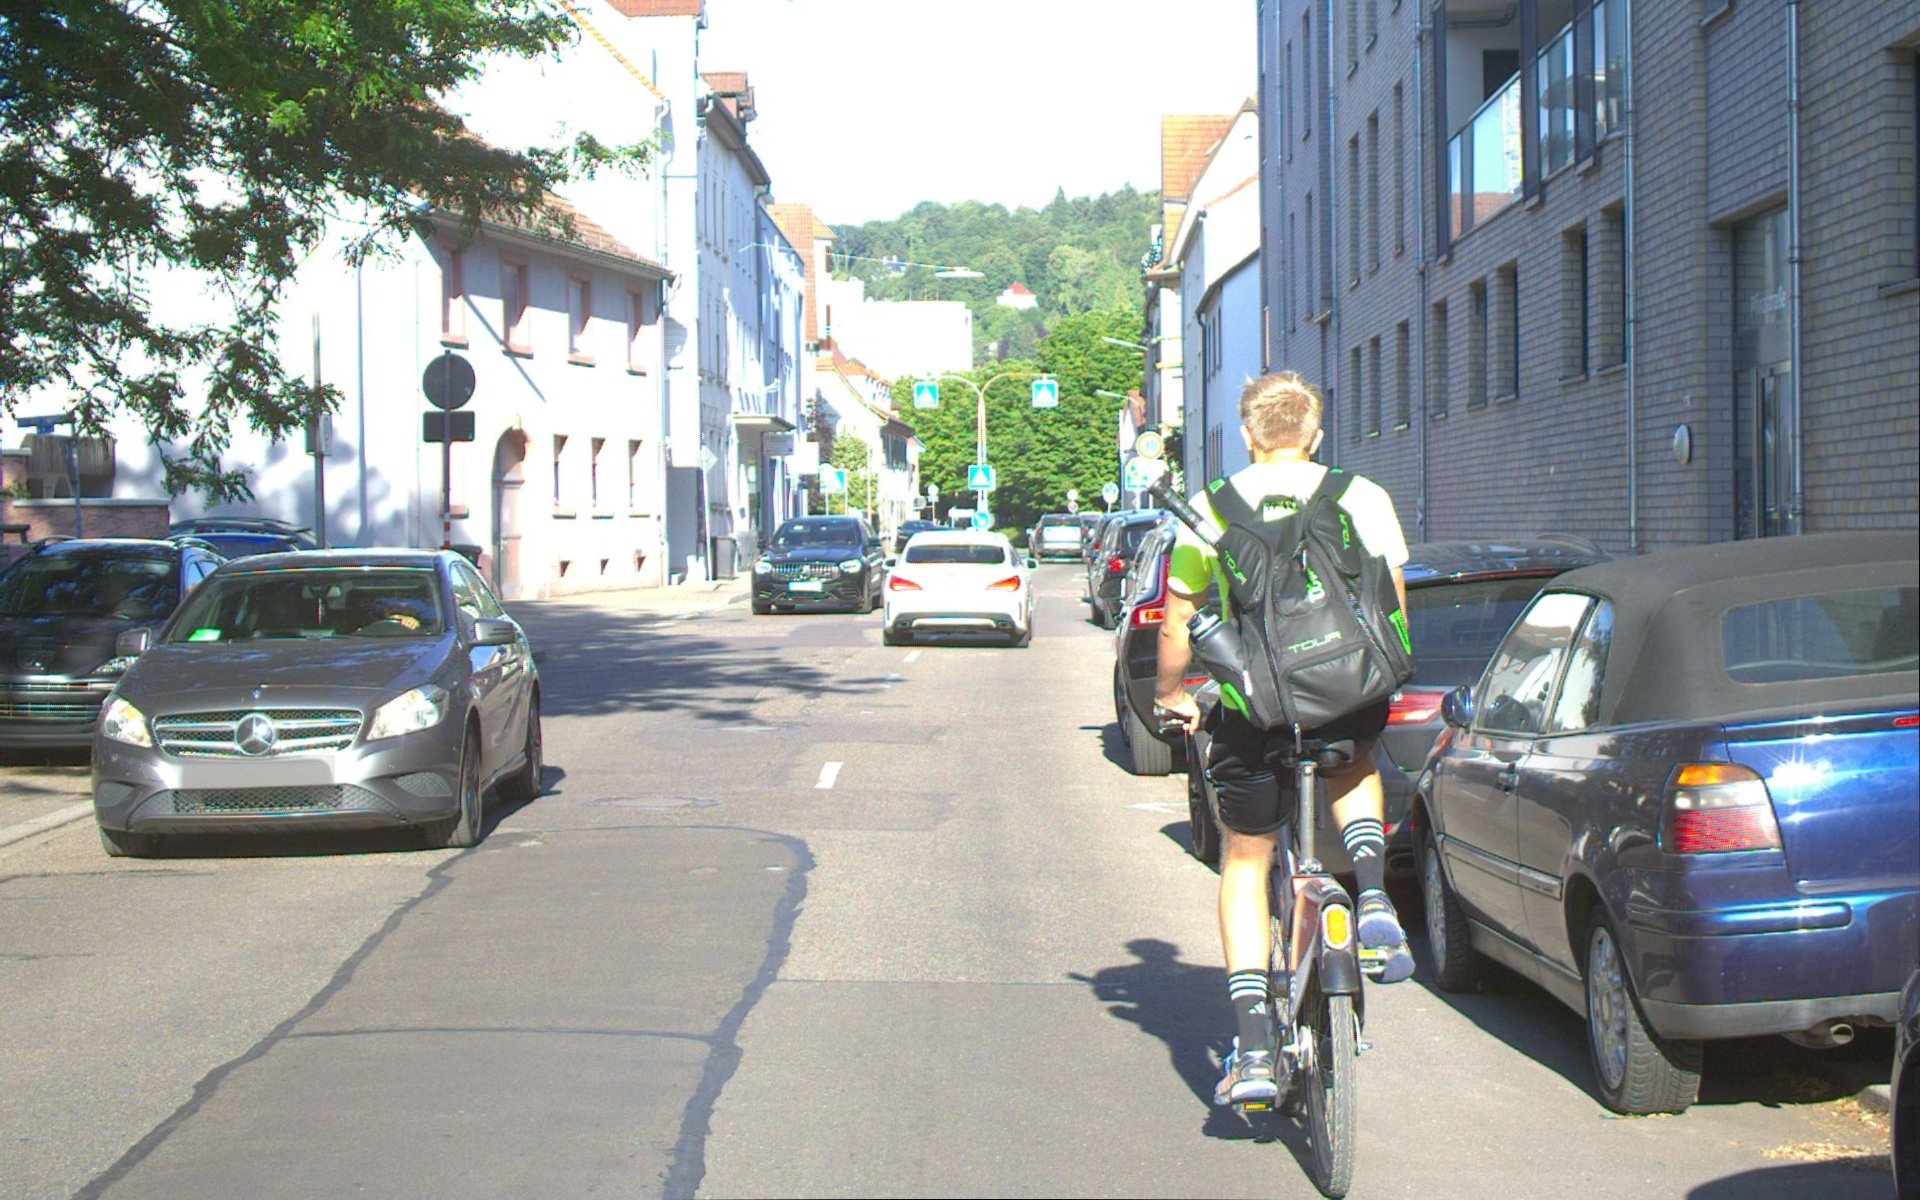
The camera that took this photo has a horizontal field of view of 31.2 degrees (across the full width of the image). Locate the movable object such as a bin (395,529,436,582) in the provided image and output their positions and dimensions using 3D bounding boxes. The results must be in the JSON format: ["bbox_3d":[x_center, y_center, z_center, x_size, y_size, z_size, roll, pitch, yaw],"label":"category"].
[{"bbox_3d":[-9.183,-0.753,57.946,0.598,0.869,0.606,0,1,-1],"label":"movable object such as a bin"}]

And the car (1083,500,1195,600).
[{"bbox_3d":[3.230,-0.945,62.741,1.855,1.630,4.623,-3,2,2],"label":"car"}]

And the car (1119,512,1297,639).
[{"bbox_3d":[3.173,-0.364,44.724,1.993,1.500,4.367,-1,2,0],"label":"car"}]

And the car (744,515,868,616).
[{"bbox_3d":[-2.524,-0.600,57.208,1.939,1.570,4.320,-1,1,-1],"label":"car"}]

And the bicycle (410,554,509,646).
[{"bbox_3d":[-5.680,-0.009,39.109,0.704,0.999,1.941,0,1,4],"label":"bicycle"}]

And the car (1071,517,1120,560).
[{"bbox_3d":[5.924,-2.704,150.850,2.011,1.846,4.000,0,2,0],"label":"car"}]

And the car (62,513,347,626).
[{"bbox_3d":[-11.338,-0.471,51.791,3.768,1.524,2.000,-2,2,2],"label":"car"}]

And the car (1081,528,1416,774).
[{"bbox_3d":[1.841,0.265,23.180,1.816,1.461,4.270,-1,1,-1],"label":"car"}]

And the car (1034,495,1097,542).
[{"bbox_3d":[3.415,-2.656,112.213,1.993,1.461,4.000,-1,1,1],"label":"car"}]

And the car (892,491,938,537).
[{"bbox_3d":[-2.037,-3.918,156.497,1.993,2.006,4.000,-1,2,0],"label":"car"}]

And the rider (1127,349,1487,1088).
[{"bbox_3d":[0.766,0.252,7.870,0.653,1.556,1.083,2,0,-1],"label":"rider"}]

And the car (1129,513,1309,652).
[{"bbox_3d":[2.944,-0.245,39.808,1.712,1.399,4.073,-5,1,1],"label":"car"}]

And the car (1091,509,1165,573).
[{"bbox_3d":[4.200,-1.487,86.108,1.741,1.487,4.439,-3,1,2],"label":"car"}]

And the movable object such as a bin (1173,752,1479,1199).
[{"bbox_3d":[0.806,0.915,7.948,0.454,1.029,1.840,2,0,-1],"label":"movable object such as a bin"}]

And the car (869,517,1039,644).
[{"bbox_3d":[-0.097,-0.274,42.774,1.993,1.461,4.000,-1,1,-1],"label":"car"}]

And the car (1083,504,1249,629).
[{"bbox_3d":[2.928,-0.523,49.838,1.993,1.647,4.763,-1,2,-1],"label":"car"}]

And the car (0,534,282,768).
[{"bbox_3d":[-6.014,0.299,24.240,1.696,1.486,4.000,-1,1,-1],"label":"car"}]

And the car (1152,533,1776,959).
[{"bbox_3d":[1.962,0.481,14.811,1.696,1.462,4.721,-3,1,-3],"label":"car"}]

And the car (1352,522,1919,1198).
[{"bbox_3d":[2.356,0.561,10.175,1.663,1.511,4.220,-3,1,-3],"label":"car"}]

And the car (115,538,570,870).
[{"bbox_3d":[-3.040,0.436,17.688,1.807,1.461,4.001,-1,1,-3],"label":"car"}]

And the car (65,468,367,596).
[{"bbox_3d":[-11.969,-1.111,55.487,4.363,1.788,1.988,2,4,3],"label":"car"}]

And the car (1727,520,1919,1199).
[{"bbox_3d":[2.422,0.618,4.314,1.725,1.524,4.626,-4,1,-1],"label":"car"}]

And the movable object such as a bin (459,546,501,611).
[{"bbox_3d":[-8.241,-0.371,59.024,0.598,1.090,0.751,0,1,2],"label":"movable object such as a bin"}]
